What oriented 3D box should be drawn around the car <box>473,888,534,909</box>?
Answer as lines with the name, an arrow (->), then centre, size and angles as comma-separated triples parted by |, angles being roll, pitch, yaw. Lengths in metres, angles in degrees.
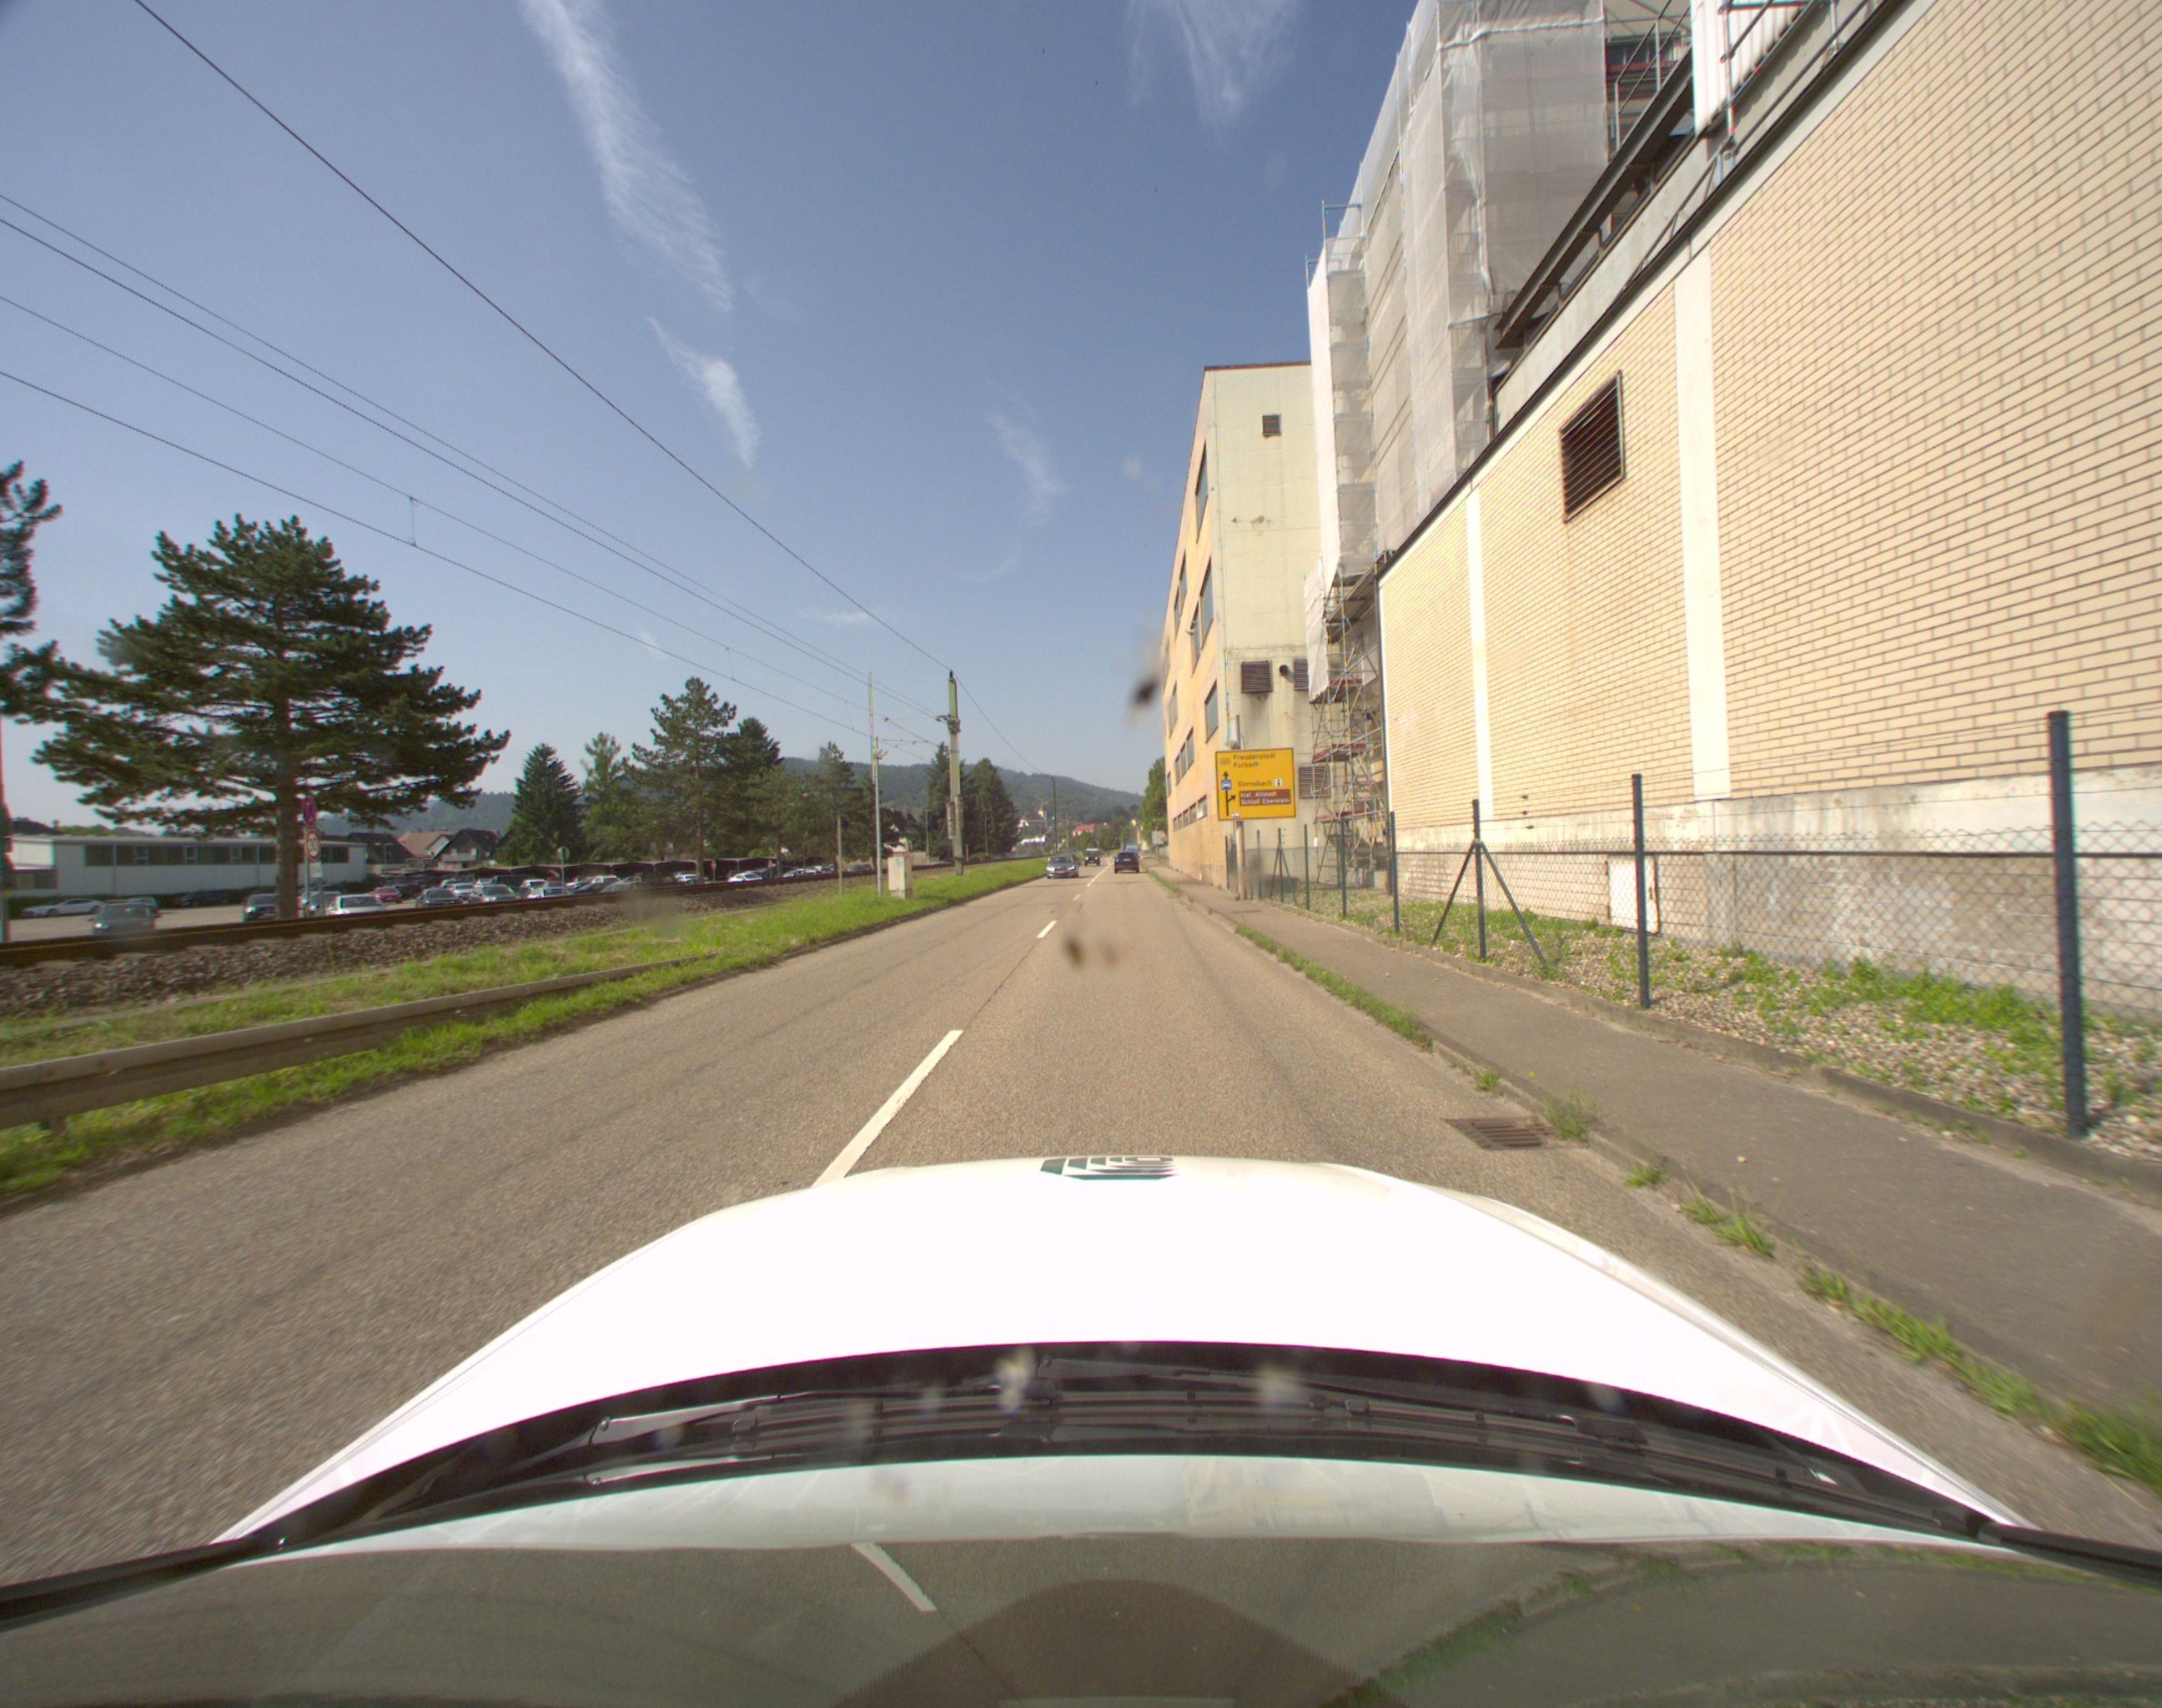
car -> -42.383, 3.253, 59.795 | 1.438, 1.268, 3.363 | -3, 0, 39

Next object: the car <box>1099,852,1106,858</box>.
car -> 5.383, 0.251, 207.719 | 1.735, 1.507, 4.201 | -2, 0, 2

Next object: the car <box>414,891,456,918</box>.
car -> -38.038, 2.960, 47.917 | 1.697, 1.390, 3.806 | -3, 0, -41

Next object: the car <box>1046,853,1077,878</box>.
car -> -1.219, 0.704, 52.615 | 1.761, 1.405, 4.298 | -3, 0, 1

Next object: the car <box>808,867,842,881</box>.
car -> -33.971, 2.601, 108.211 | 3.982, 1.665, 1.814 | -2, 0, -6

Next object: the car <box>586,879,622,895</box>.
car -> -42.292, 2.929, 72.188 | 3.491, 1.325, 1.467 | -3, 0, 36

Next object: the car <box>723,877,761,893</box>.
car -> -30.465, 2.800, 73.102 | 3.491, 1.325, 1.467 | -3, 0, 35

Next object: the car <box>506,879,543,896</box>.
car -> -49.193, 2.976, 71.973 | 3.491, 1.325, 1.467 | -3, 0, 36

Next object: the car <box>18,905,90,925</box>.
car -> -86.358, 5.081, 68.548 | 1.447, 1.325, 3.538 | -3, 0, 2

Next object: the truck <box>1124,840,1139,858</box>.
truck -> 9.123, -0.920, 147.963 | 2.304, 2.970, 5.967 | -2, 1, 1

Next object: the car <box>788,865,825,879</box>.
car -> -34.157, 2.199, 101.335 | 3.982, 1.536, 1.814 | -2, 0, -6

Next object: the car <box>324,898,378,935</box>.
car -> -32.829, 2.769, 36.687 | 1.697, 1.443, 3.806 | -3, 0, -41

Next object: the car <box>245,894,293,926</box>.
car -> -46.965, 3.217, 47.157 | 1.697, 1.642, 3.806 | -3, 0, -41

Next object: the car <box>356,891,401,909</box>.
car -> -59.639, 3.903, 69.157 | 3.493, 1.325, 1.465 | -3, 0, 23

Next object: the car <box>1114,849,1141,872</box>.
car -> 3.534, 0.470, 61.266 | 1.911, 1.640, 4.004 | -2, 0, 3

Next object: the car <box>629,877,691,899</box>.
car -> -29.911, 2.405, 57.902 | 3.541, 1.357, 1.501 | -3, 0, -44

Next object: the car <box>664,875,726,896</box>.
car -> -29.118, 2.334, 61.569 | 1.545, 1.325, 3.882 | -3, 0, 41

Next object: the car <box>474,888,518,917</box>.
car -> -34.579, 2.836, 48.123 | 1.697, 1.506, 3.806 | -3, 0, -41

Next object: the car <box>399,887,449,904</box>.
car -> -64.542, 4.071, 80.022 | 1.439, 1.325, 3.559 | -3, 0, 42

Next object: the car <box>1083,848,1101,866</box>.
car -> 1.323, 0.314, 96.229 | 1.750, 2.078, 4.813 | -1, 0, 4

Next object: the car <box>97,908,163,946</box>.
car -> -42.558, 3.238, 36.511 | 3.804, 1.406, 1.698 | -3, 0, 44

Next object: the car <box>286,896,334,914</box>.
car -> -62.129, 4.118, 65.611 | 3.493, 1.325, 1.465 | -3, 0, 23

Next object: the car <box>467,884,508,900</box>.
car -> -56.226, 3.616, 77.135 | 3.493, 1.325, 1.465 | -3, 0, 23
